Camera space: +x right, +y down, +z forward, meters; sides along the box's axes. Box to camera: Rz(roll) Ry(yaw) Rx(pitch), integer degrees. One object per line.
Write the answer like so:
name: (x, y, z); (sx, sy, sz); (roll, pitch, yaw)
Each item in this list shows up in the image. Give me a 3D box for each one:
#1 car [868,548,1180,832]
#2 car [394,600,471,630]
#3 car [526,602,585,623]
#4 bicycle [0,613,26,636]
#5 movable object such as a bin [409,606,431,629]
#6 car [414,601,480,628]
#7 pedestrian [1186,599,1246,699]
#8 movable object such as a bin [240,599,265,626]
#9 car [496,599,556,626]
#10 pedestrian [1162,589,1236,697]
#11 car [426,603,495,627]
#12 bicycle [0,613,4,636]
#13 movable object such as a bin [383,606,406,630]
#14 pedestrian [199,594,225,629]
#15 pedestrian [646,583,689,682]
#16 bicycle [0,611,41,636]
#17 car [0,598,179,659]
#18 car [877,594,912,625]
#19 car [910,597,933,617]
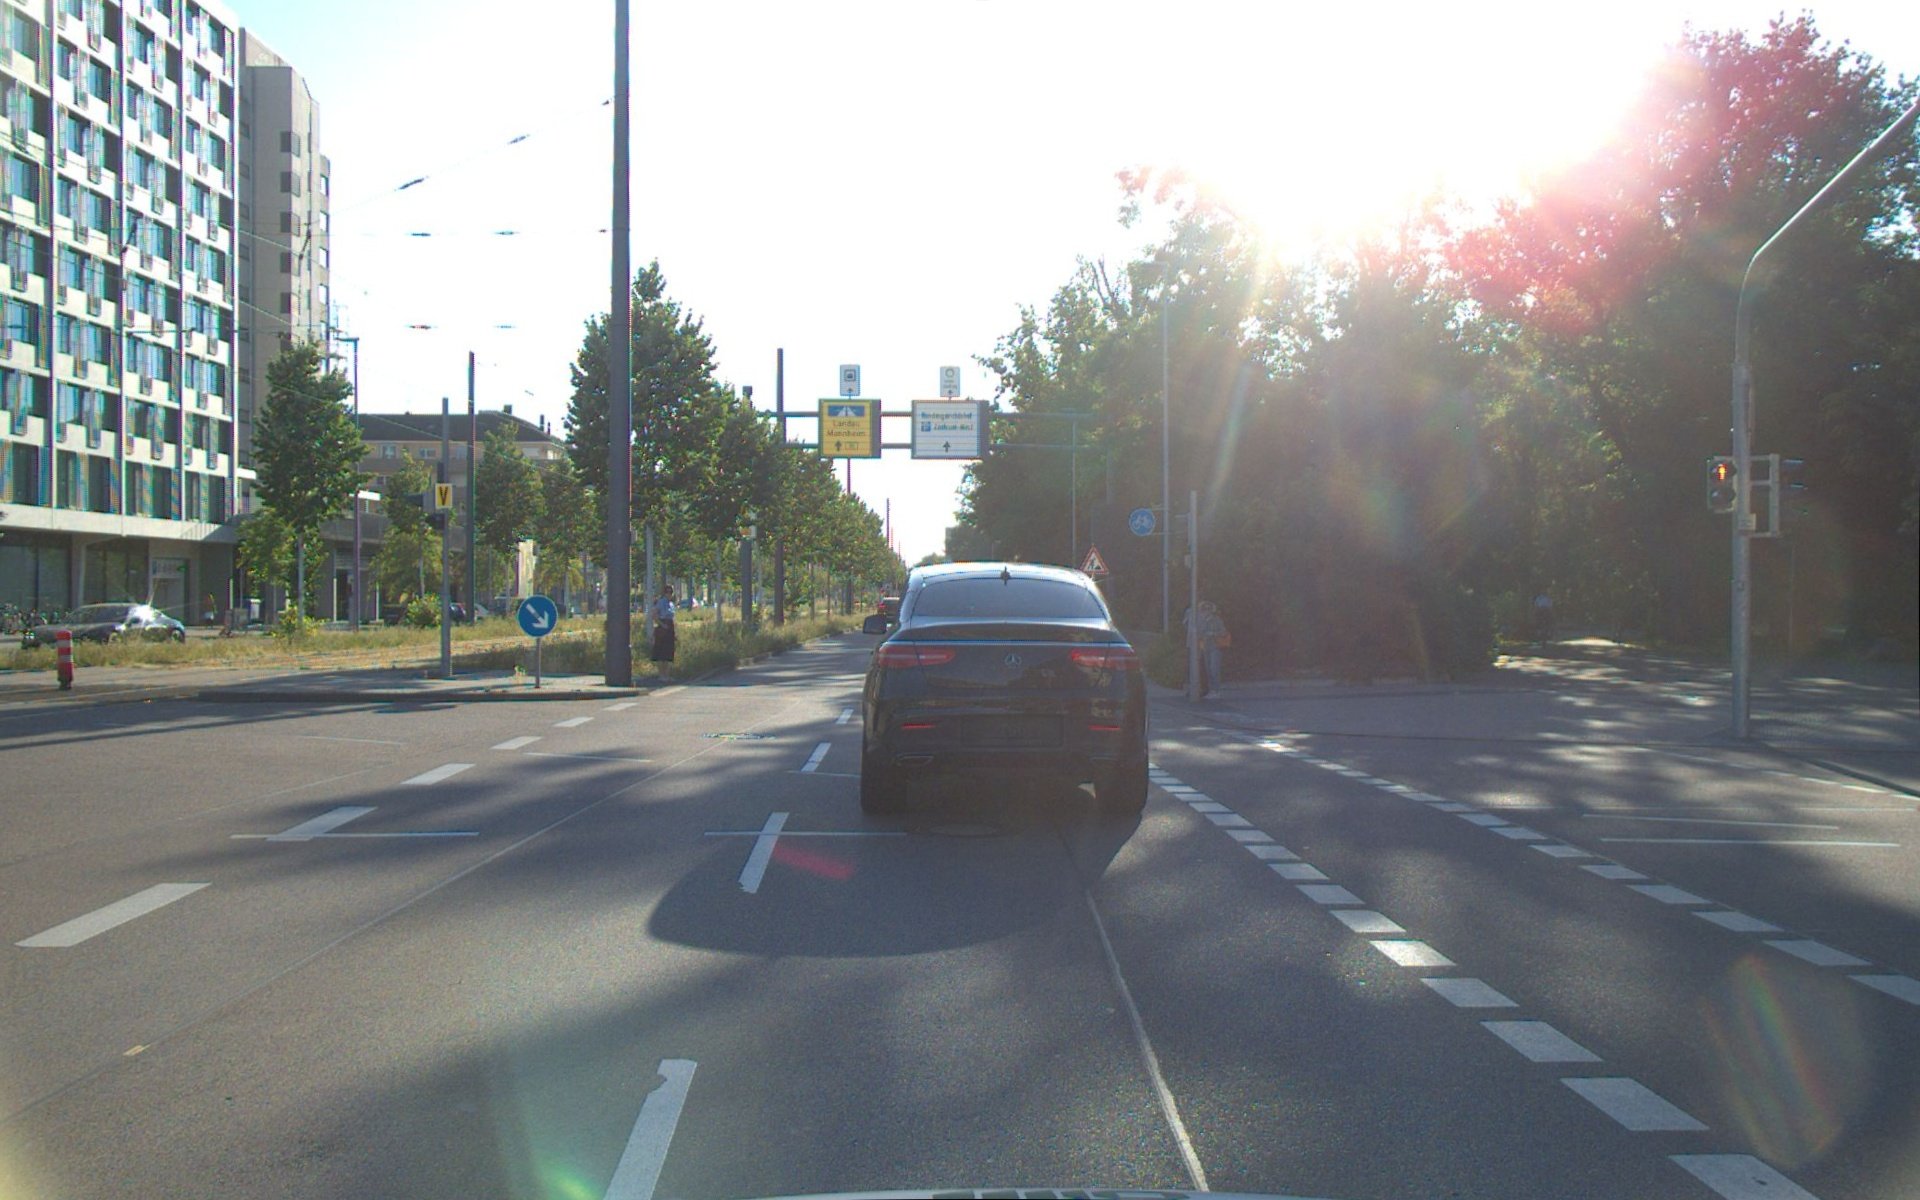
car: (0.307, 0.569, 12.440); (1.954, 1.765, 3.998); (1, 0, -3)
car: (-31.872, 0.889, 100.076); (4.060, 1.629, 1.724); (3, 0, -42)
car: (-31.151, 0.974, 127.402); (3.967, 1.590, 1.969); (1, 0, -43)
bicycle: (-38.236, 0.982, 65.844); (1.770, 0.921, 0.511); (0, 0, -7)
movable object such as a bin: (-30.925, 0.993, 94.775); (0.839, 1.303, 0.940); (0, 0, 14)
car: (-32.067, 0.907, 103.348); (3.594, 1.550, 1.596); (2, -1, -42)
pedestrian: (4.367, 0.822, 28.276); (0.752, 1.665, 0.768); (-2, 0, -10)
movable object such as a bin: (-38.402, 0.672, 89.805); (0.784, 1.465, 1.403); (0, 0, 0)
car: (-30.842, 0.911, 117.677); (3.725, 1.861, 1.798); (1, 0, -41)
pedestrian: (4.195, 0.739, 29.042); (0.849, 1.833, 0.896); (-2, 0, -35)
car: (-32.122, 0.974, 106.421); (1.754, 1.478, 3.977); (1, 0, 41)
bicycle: (-38.426, 0.954, 64.667); (1.770, 0.921, 0.511); (0, 0, -7)
movable object such as a bin: (-32.281, 1.032, 94.433); (0.839, 1.381, 0.940); (0, 0, 14)
pedestrian: (-36.460, 0.551, 80.607); (0.826, 1.682, 0.970); (0, 0, 1)
pedestrian: (-5.214, 0.574, 29.478); (0.586, 1.729, 0.714); (0, 0, 4)
bicycle: (-38.511, 0.953, 67.498); (1.716, 0.983, 0.483); (1, 0, -2)
car: (-20.729, 0.627, 39.561); (1.852, 1.367, 4.849); (0, 0, -1)
car: (-3.589, 0.513, 91.647); (1.847, 1.608, 3.999); (1, 1, -1)
car: (-3.239, 0.579, 139.400); (1.847, 1.608, 3.999); (1, 1, -1)
